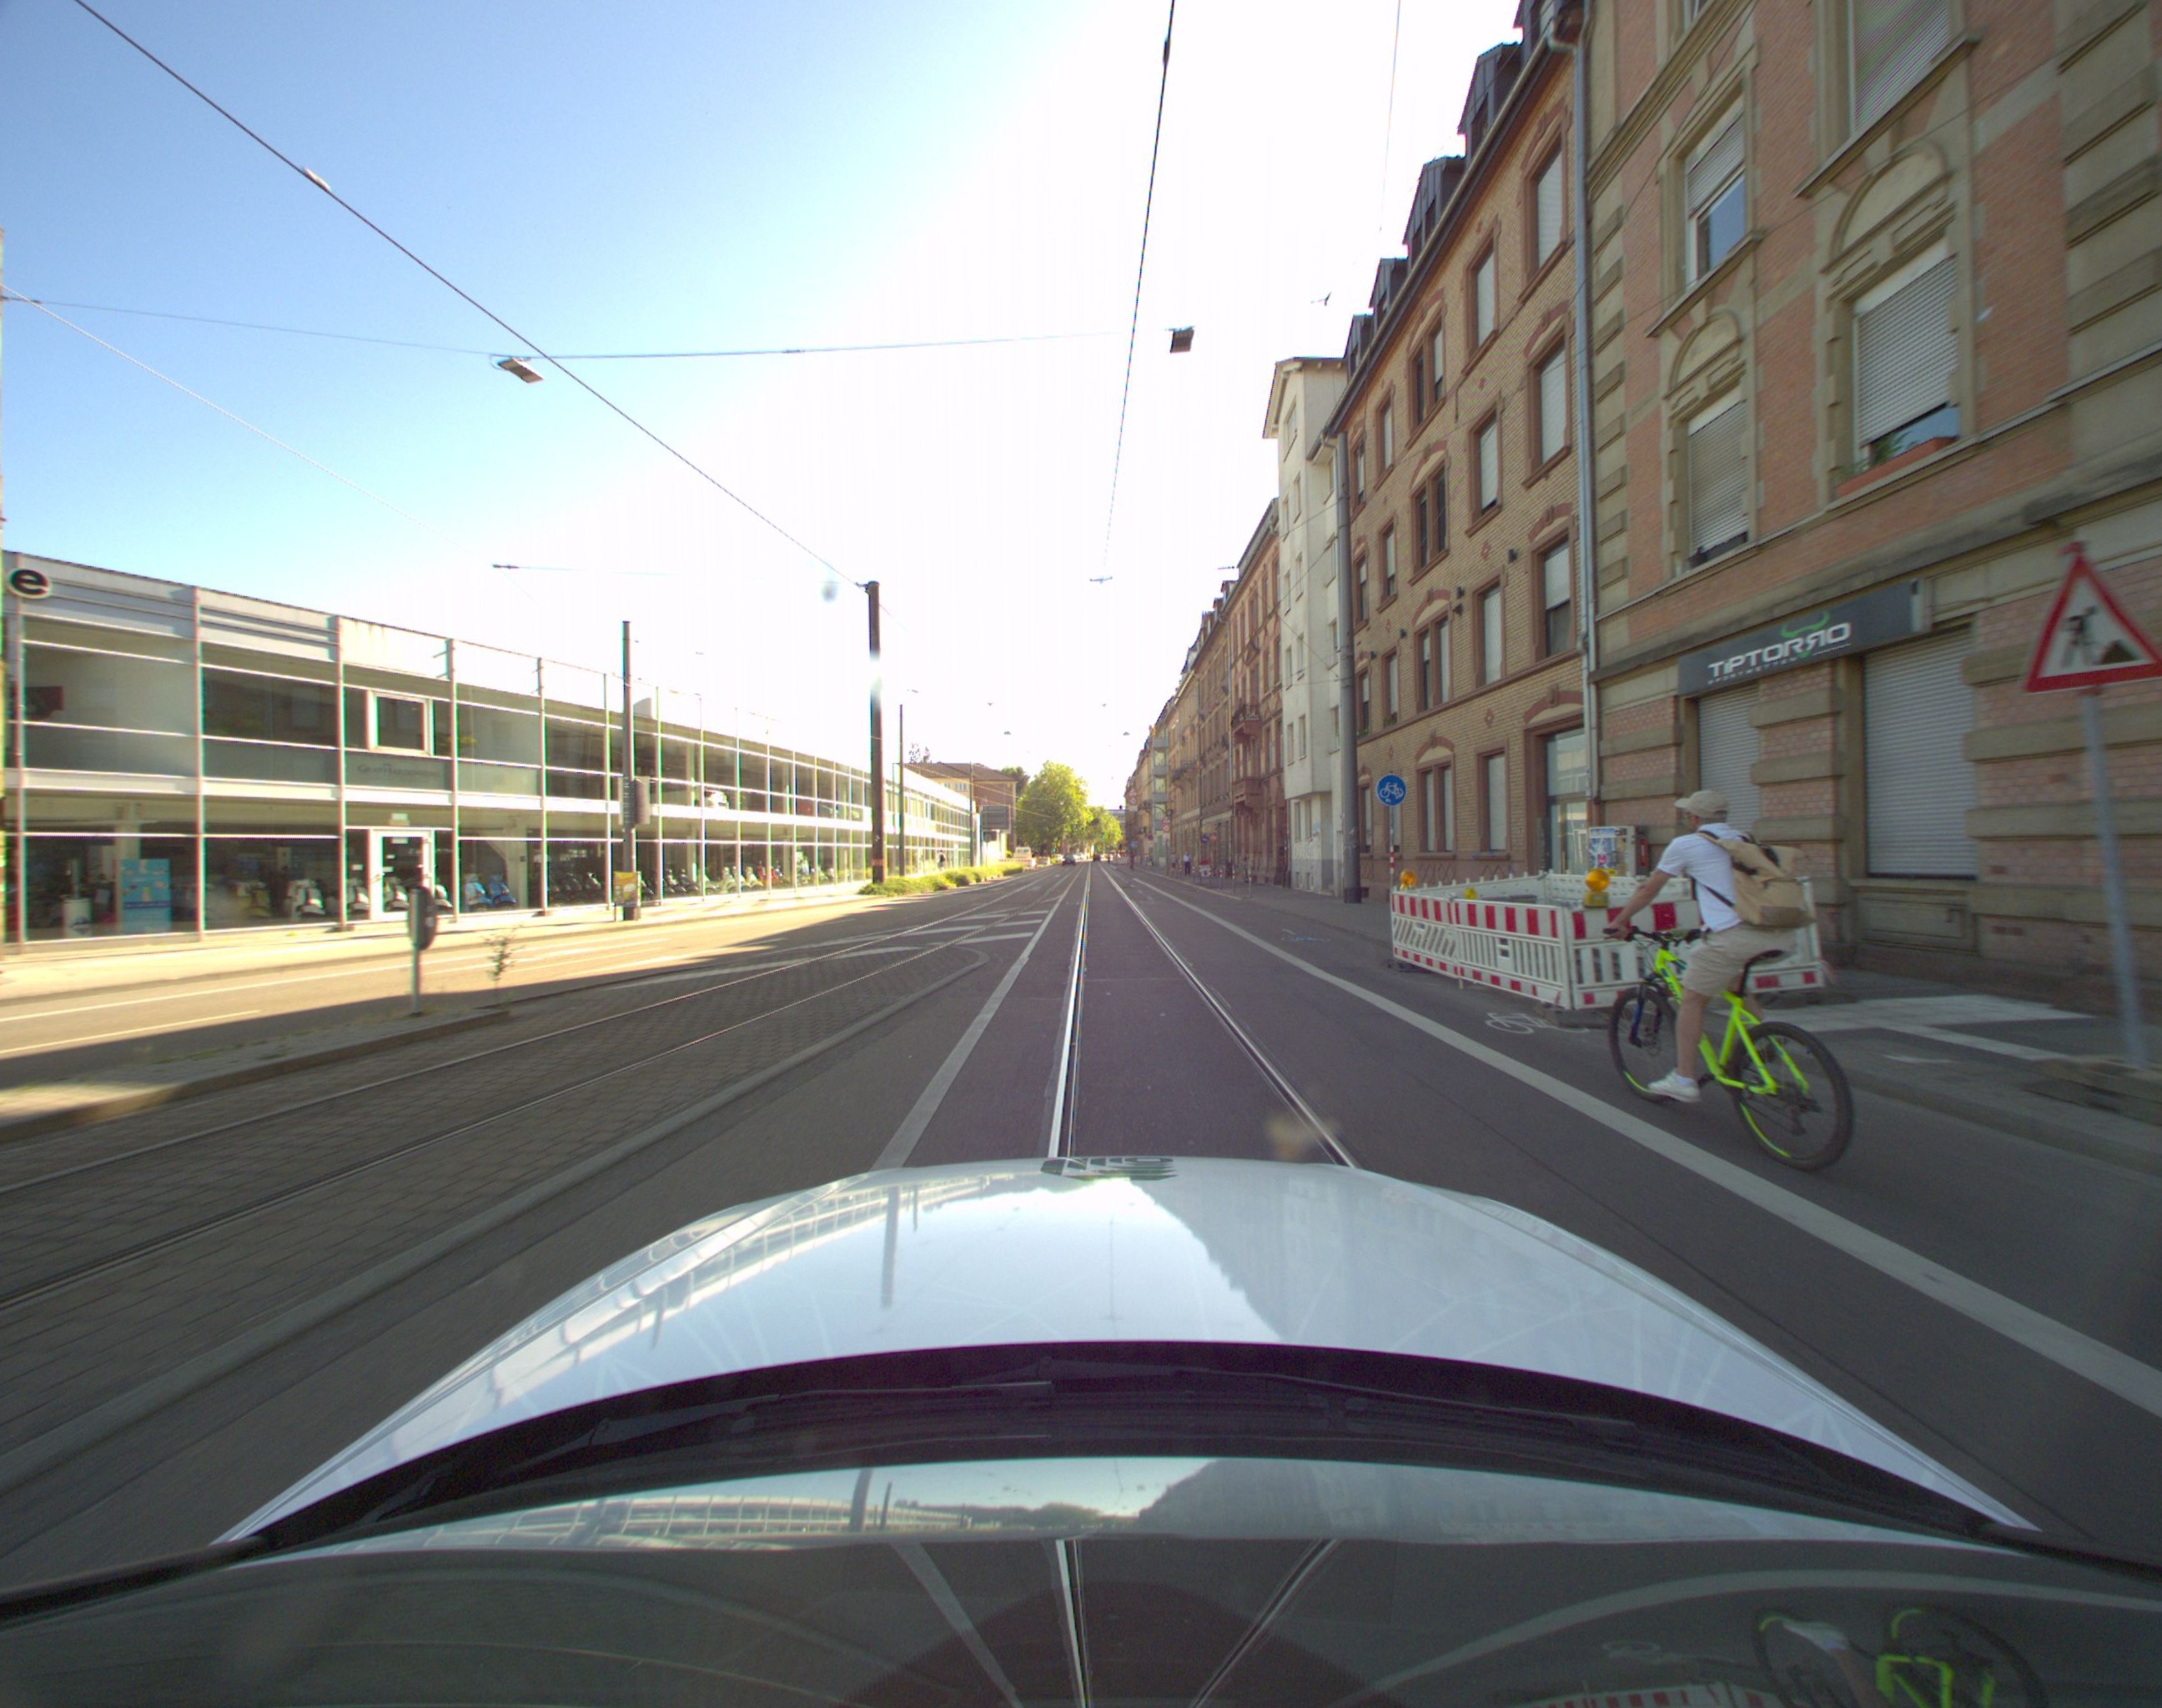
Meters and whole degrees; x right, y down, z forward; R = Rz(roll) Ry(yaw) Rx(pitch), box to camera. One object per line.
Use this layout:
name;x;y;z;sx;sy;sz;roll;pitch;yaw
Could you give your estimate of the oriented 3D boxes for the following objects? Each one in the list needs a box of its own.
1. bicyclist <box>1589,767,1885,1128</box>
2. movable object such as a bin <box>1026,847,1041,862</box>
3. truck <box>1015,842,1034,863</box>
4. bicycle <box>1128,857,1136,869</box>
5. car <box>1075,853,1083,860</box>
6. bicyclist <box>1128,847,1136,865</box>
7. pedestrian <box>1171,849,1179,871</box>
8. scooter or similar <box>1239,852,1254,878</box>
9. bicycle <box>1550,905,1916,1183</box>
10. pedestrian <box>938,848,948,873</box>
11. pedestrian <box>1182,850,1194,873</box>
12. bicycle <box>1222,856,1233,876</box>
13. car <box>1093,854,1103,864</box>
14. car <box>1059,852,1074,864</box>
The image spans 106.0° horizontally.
bicyclist;3.422;0.443;4.373;0.679;1.683;1.119;1;-1;-2
movable object such as a bin;-8.547;0.022;147.156;2.488;2.645;5.985;1;0;-2
truck;-8.075;-0.143;116.225;2.532;2.830;6.369;1;-1;-3
bicycle;4.886;0.886;78.289;0.678;1.114;2.707;1;0;0
car;-0.535;0.866;250.705;2.050;2.052;4.047;1;-1;3
bicyclist;4.908;0.167;78.204;0.665;1.697;1.043;1;-1;0
pedestrian;7.379;0.481;64.208;0.550;1.701;0.474;-3;-1;5
scooter or similar;7.967;0.549;39.149;0.405;1.211;1.480;-2;-1;1
bicycle;3.476;0.912;4.616;0.530;1.117;1.934;-1;0;1
pedestrian;-10.041;0.477;59.167;0.525;1.765;1.051;1;-1;1
pedestrian;7.534;0.540;57.295;0.795;1.605;0.653;-1;-1;2
bicycle;8.124;0.662;45.254;0.408;1.121;1.900;-3;-1;5
car;3.647;1.057;175.944;1.986;2.014;4.001;1;-1;1
car;-2.027;0.543;115.050;1.752;1.697;4.145;1;-1;2
